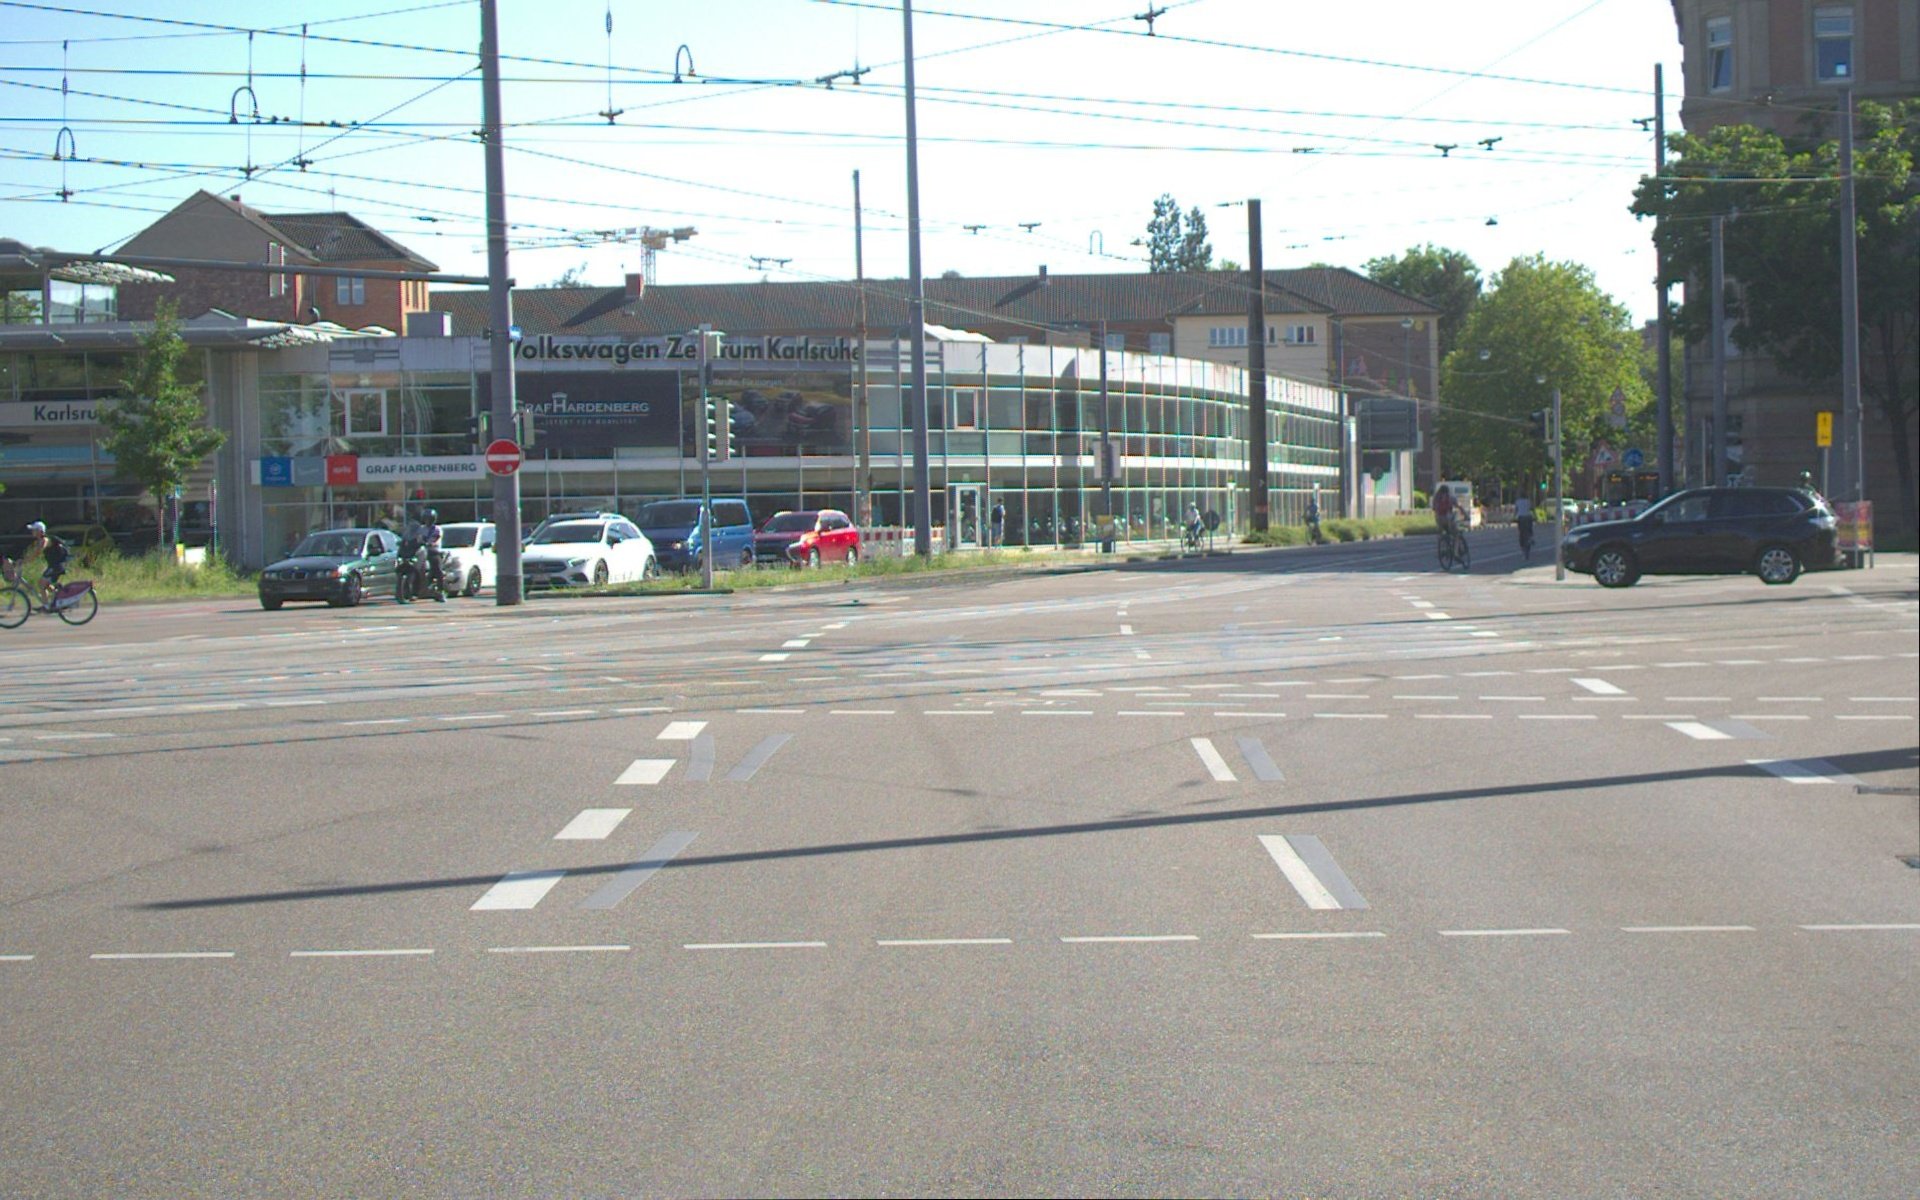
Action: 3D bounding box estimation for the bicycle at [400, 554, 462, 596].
[{"bbox_3d":[-9.492,-0.453,61.765,0.423,0.715,1.633,-1,2,17],"label":"bicycle"}]

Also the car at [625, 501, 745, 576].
[{"bbox_3d":[-6.392,-1.459,80.269,1.627,1.686,3.683,-1,1,15],"label":"car"}]

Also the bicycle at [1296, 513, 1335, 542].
[{"bbox_3d":[13.139,-2.693,126.905,0.811,1.041,2.124,0,2,24],"label":"bicycle"}]

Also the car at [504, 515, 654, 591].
[{"bbox_3d":[-7.314,-0.931,66.261,1.627,1.377,3.735,-1,1,15],"label":"car"}]

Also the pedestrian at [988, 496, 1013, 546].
[{"bbox_3d":[1.376,-2.669,115.841,0.543,1.683,0.629,0,2,38],"label":"pedestrian"}]

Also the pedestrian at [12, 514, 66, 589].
[{"bbox_3d":[-14.985,-0.795,55.946,0.793,1.200,0.560,-1,1,-18],"label":"pedestrian"}]

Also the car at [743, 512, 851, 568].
[{"bbox_3d":[-4.120,-1.542,87.389,1.627,1.359,3.683,-1,1,16],"label":"car"}]

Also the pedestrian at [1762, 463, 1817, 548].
[{"bbox_3d":[16.111,-1.839,66.752,0.716,1.626,0.758,-2,2,-44],"label":"pedestrian"}]

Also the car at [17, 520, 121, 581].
[{"bbox_3d":[-26.211,-1.477,101.253,1.966,1.700,4.084,-1,1,0],"label":"car"}]

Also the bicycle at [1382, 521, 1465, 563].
[{"bbox_3d":[10.007,-1.250,74.147,0.745,0.867,1.926,0,2,45],"label":"bicycle"}]

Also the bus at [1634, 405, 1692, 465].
[{"bbox_3d":[51.298,-11.922,250.364,3.839,3.595,24.853,1,1,12],"label":"bus"}]

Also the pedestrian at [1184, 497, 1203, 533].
[{"bbox_3d":[8.008,-2.911,117.770,0.423,1.200,0.679,0,1,26],"label":"pedestrian"}]

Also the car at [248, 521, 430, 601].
[{"bbox_3d":[-11.196,-0.723,62.204,1.705,1.349,3.698,-1,2,17],"label":"car"}]

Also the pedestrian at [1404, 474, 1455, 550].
[{"bbox_3d":[10.156,-1.908,74.364,0.716,1.626,0.805,-2,2,-45],"label":"pedestrian"}]

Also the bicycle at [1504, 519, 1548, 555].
[{"bbox_3d":[14.026,-1.558,85.185,0.743,0.867,1.929,0,1,20],"label":"bicycle"}]

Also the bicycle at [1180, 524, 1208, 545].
[{"bbox_3d":[8.016,-2.245,117.774,0.423,0.715,1.473,0,2,26],"label":"bicycle"}]

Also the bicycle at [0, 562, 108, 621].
[{"bbox_3d":[-14.931,-0.132,55.970,2.004,0.909,0.562,-2,1,-17],"label":"bicycle"}]

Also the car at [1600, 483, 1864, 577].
[{"bbox_3d":[12.957,-1.176,57.789,4.253,1.497,1.704,-1,1,13],"label":"car"}]

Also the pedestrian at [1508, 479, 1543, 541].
[{"bbox_3d":[14.012,-2.223,85.180,0.746,1.517,0.717,0,1,20],"label":"pedestrian"}]

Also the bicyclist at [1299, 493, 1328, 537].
[{"bbox_3d":[13.017,-3.134,126.628,0.811,1.618,0.927,-1,1,24],"label":"bicyclist"}]

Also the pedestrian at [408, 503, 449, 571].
[{"bbox_3d":[-9.530,-1.129,61.679,0.423,1.200,0.749,-1,1,17],"label":"pedestrian"}]

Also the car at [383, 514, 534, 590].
[{"bbox_3d":[-9.906,-0.970,68.152,1.627,1.419,3.683,-1,1,15],"label":"car"}]
